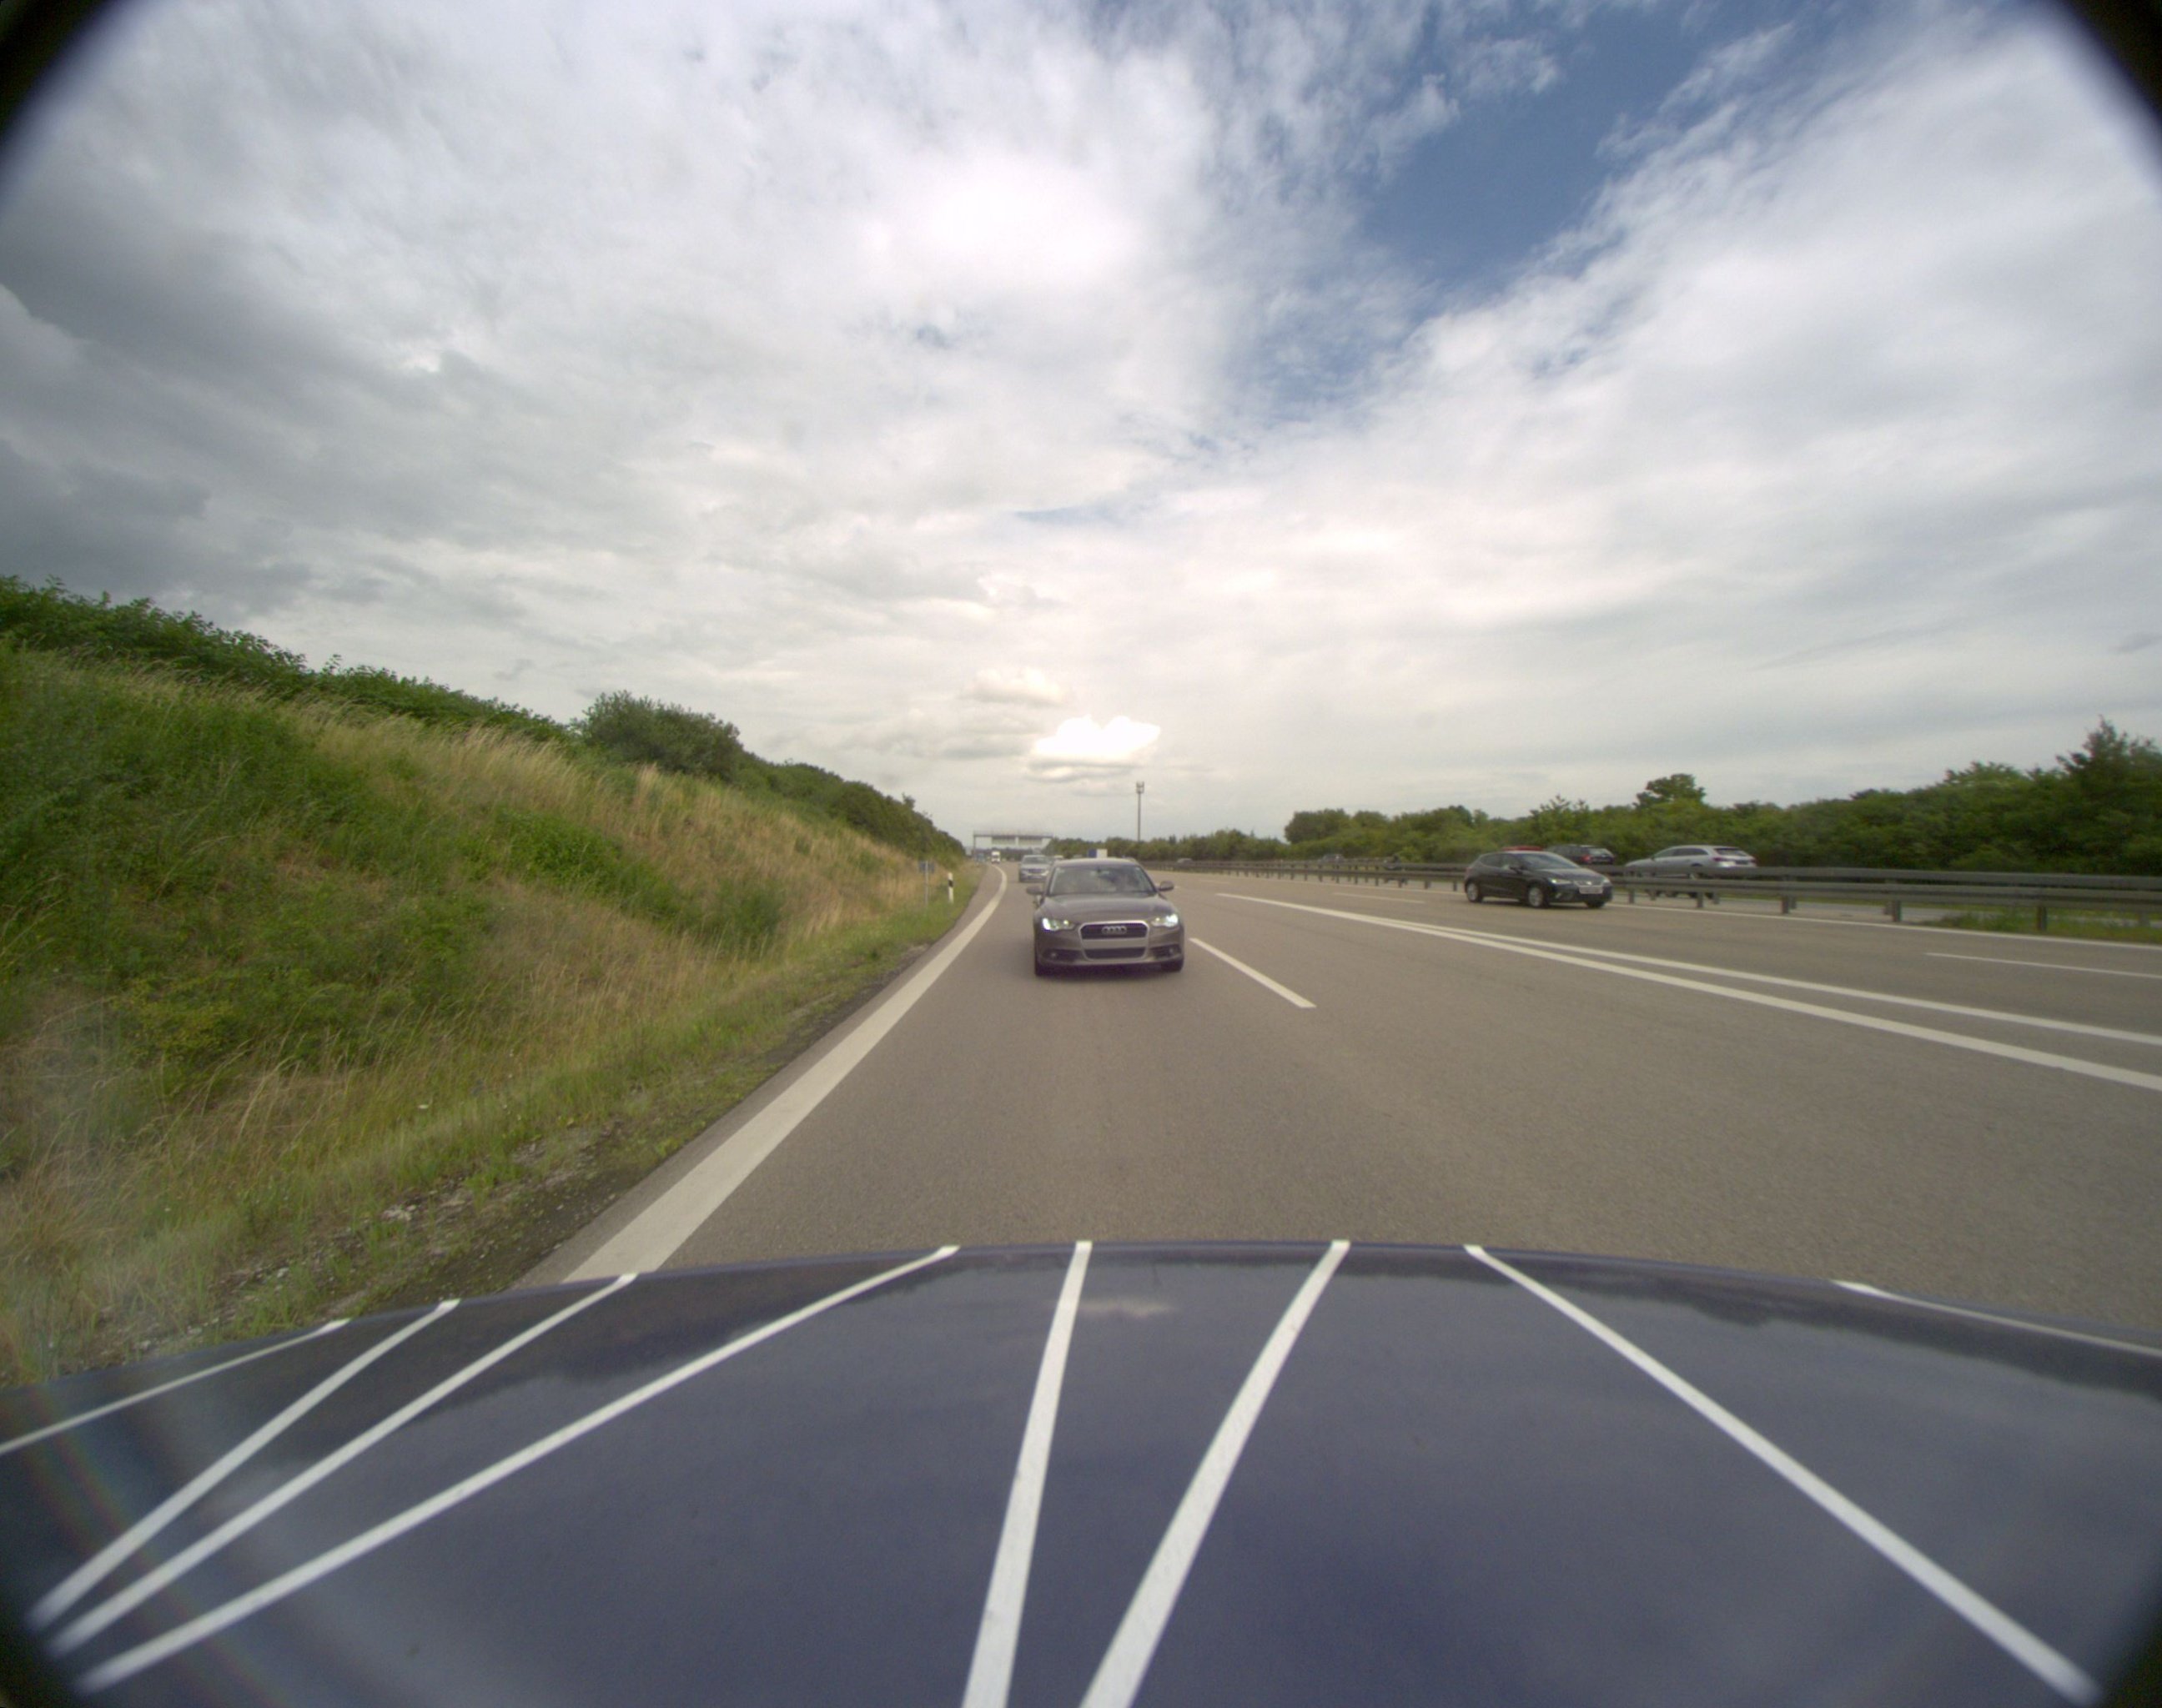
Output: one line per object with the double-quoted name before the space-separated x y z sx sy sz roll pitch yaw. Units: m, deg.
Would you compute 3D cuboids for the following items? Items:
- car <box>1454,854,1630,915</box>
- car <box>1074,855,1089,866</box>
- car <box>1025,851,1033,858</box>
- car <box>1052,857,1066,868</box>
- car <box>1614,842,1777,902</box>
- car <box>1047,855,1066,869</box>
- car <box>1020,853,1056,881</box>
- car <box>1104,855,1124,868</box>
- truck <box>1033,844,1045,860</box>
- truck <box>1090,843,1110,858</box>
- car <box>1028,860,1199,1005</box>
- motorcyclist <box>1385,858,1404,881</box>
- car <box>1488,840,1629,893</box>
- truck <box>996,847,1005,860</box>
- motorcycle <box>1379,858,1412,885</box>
"car" 11.903 0.712 20.001 1.785 1.390 4.304 -1 0 -4
"car" 0.098 1.025 128.179 1.999 1.775 5.409 -1 0 -5
"car" -17.329 0.208 252.361 2.000 2.002 3.996 -2 1 -9
"car" -3.450 1.304 118.369 1.882 1.741 4.484 -1 0 -5
"car" 24.021 0.647 30.000 2.169 2.120 4.871 -1 0 -6
"car" -2.937 0.923 90.644 1.839 1.557 4.494 -1 0 -7
"car" -2.617 0.738 45.702 1.999 1.567 3.998 -1 0 -5
"car" 3.852 0.857 89.637 1.727 1.415 4.795 0 0 -5
"truck" -9.388 -0.420 168.732 2.474 3.350 7.922 -1 -2 -5
"truck" 4.637 -0.781 185.685 3.168 3.508 9.971 -2 1 -8
"car" 0.249 0.878 10.356 1.849 1.489 4.027 -2 0 -3
"motorcyclist" 17.827 0.859 43.247 0.659 1.245 0.823 -2 1 -6
"car" 23.078 0.540 37.211 2.169 2.317 6.673 -1 0 -6
"truck" -21.571 -0.118 203.509 2.450 3.216 7.187 -1 0 -6
"motorcycle" 17.837 0.950 43.207 0.659 1.436 2.394 -2 1 -6
